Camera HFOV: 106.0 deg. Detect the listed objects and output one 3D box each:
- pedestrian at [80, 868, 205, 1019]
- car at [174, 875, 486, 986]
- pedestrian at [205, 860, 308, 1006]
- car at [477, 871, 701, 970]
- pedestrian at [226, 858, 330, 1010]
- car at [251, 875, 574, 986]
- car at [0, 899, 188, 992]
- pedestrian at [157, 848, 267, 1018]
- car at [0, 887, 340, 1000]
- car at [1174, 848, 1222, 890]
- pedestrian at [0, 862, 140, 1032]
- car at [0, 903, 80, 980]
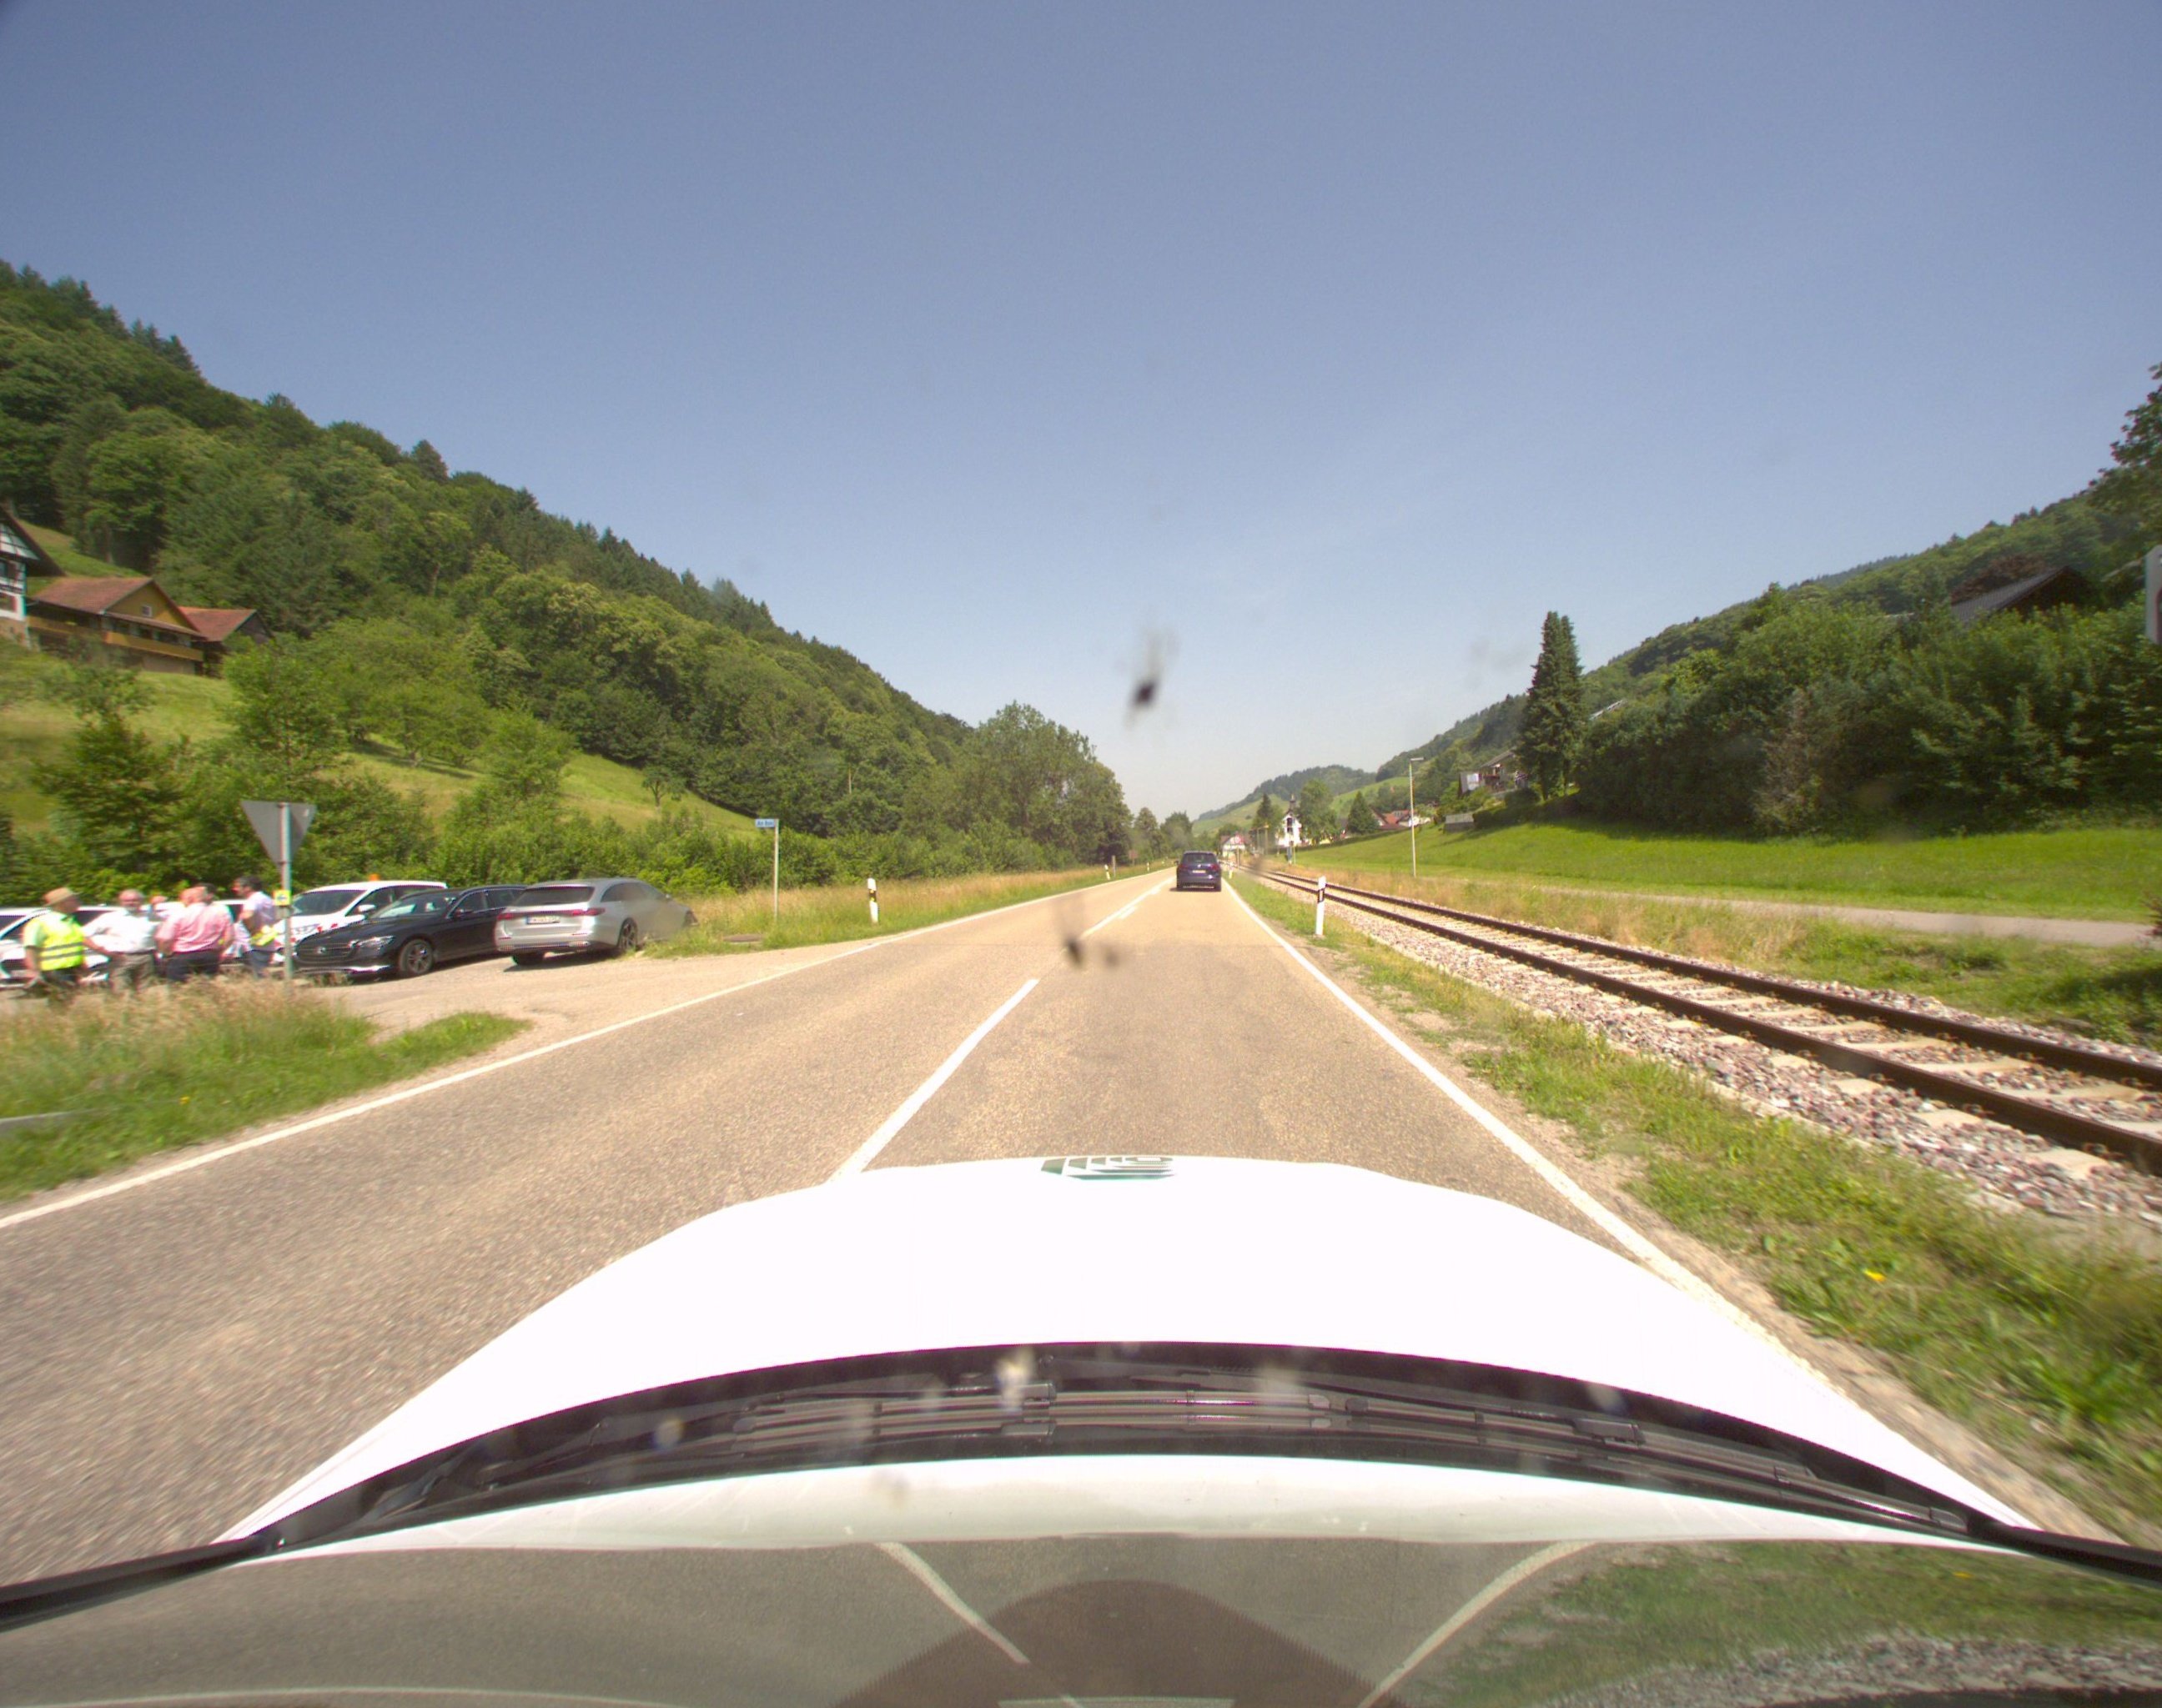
[{"bbox_3d":[-11.823,1.098,10.273,0.761,1.796,0.798,-3,-1,24],"label":"pedestrian"},{"bbox_3d":[-14.860,1.402,16.609,1.864,1.782,4.772,-2,0,1],"label":"car"},{"bbox_3d":[-11.033,1.029,10.907,0.641,1.840,0.776,-3,-1,31],"label":"pedestrian"},{"bbox_3d":[-9.134,1.134,15.624,1.822,1.500,4.272,-3,0,-3],"label":"car"},{"bbox_3d":[-10.417,1.005,10.572,0.641,1.858,0.776,-3,-1,31],"label":"pedestrian"},{"bbox_3d":[-12.369,1.310,15.586,1.983,1.652,4.629,-3,-1,6],"label":"car"},{"bbox_3d":[-20.243,1.759,15.337,1.990,1.500,4.514,-3,0,-5],"label":"car"},{"bbox_3d":[-10.518,0.926,9.875,0.661,1.955,0.530,-3,0,-13],"label":"pedestrian"},{"bbox_3d":[-17.649,1.593,15.861,1.989,1.641,4.897,-3,0,-2],"label":"car"},{"bbox_3d":[4.822,0.609,33.922,1.843,1.649,4.147,0,-1,6],"label":"car"},{"bbox_3d":[-11.646,1.037,9.376,0.783,1.842,0.700,-3,-1,8],"label":"pedestrian"},{"bbox_3d":[-22.735,1.797,15.469,1.990,1.501,4.514,0,-1,-4],"label":"car"}]
